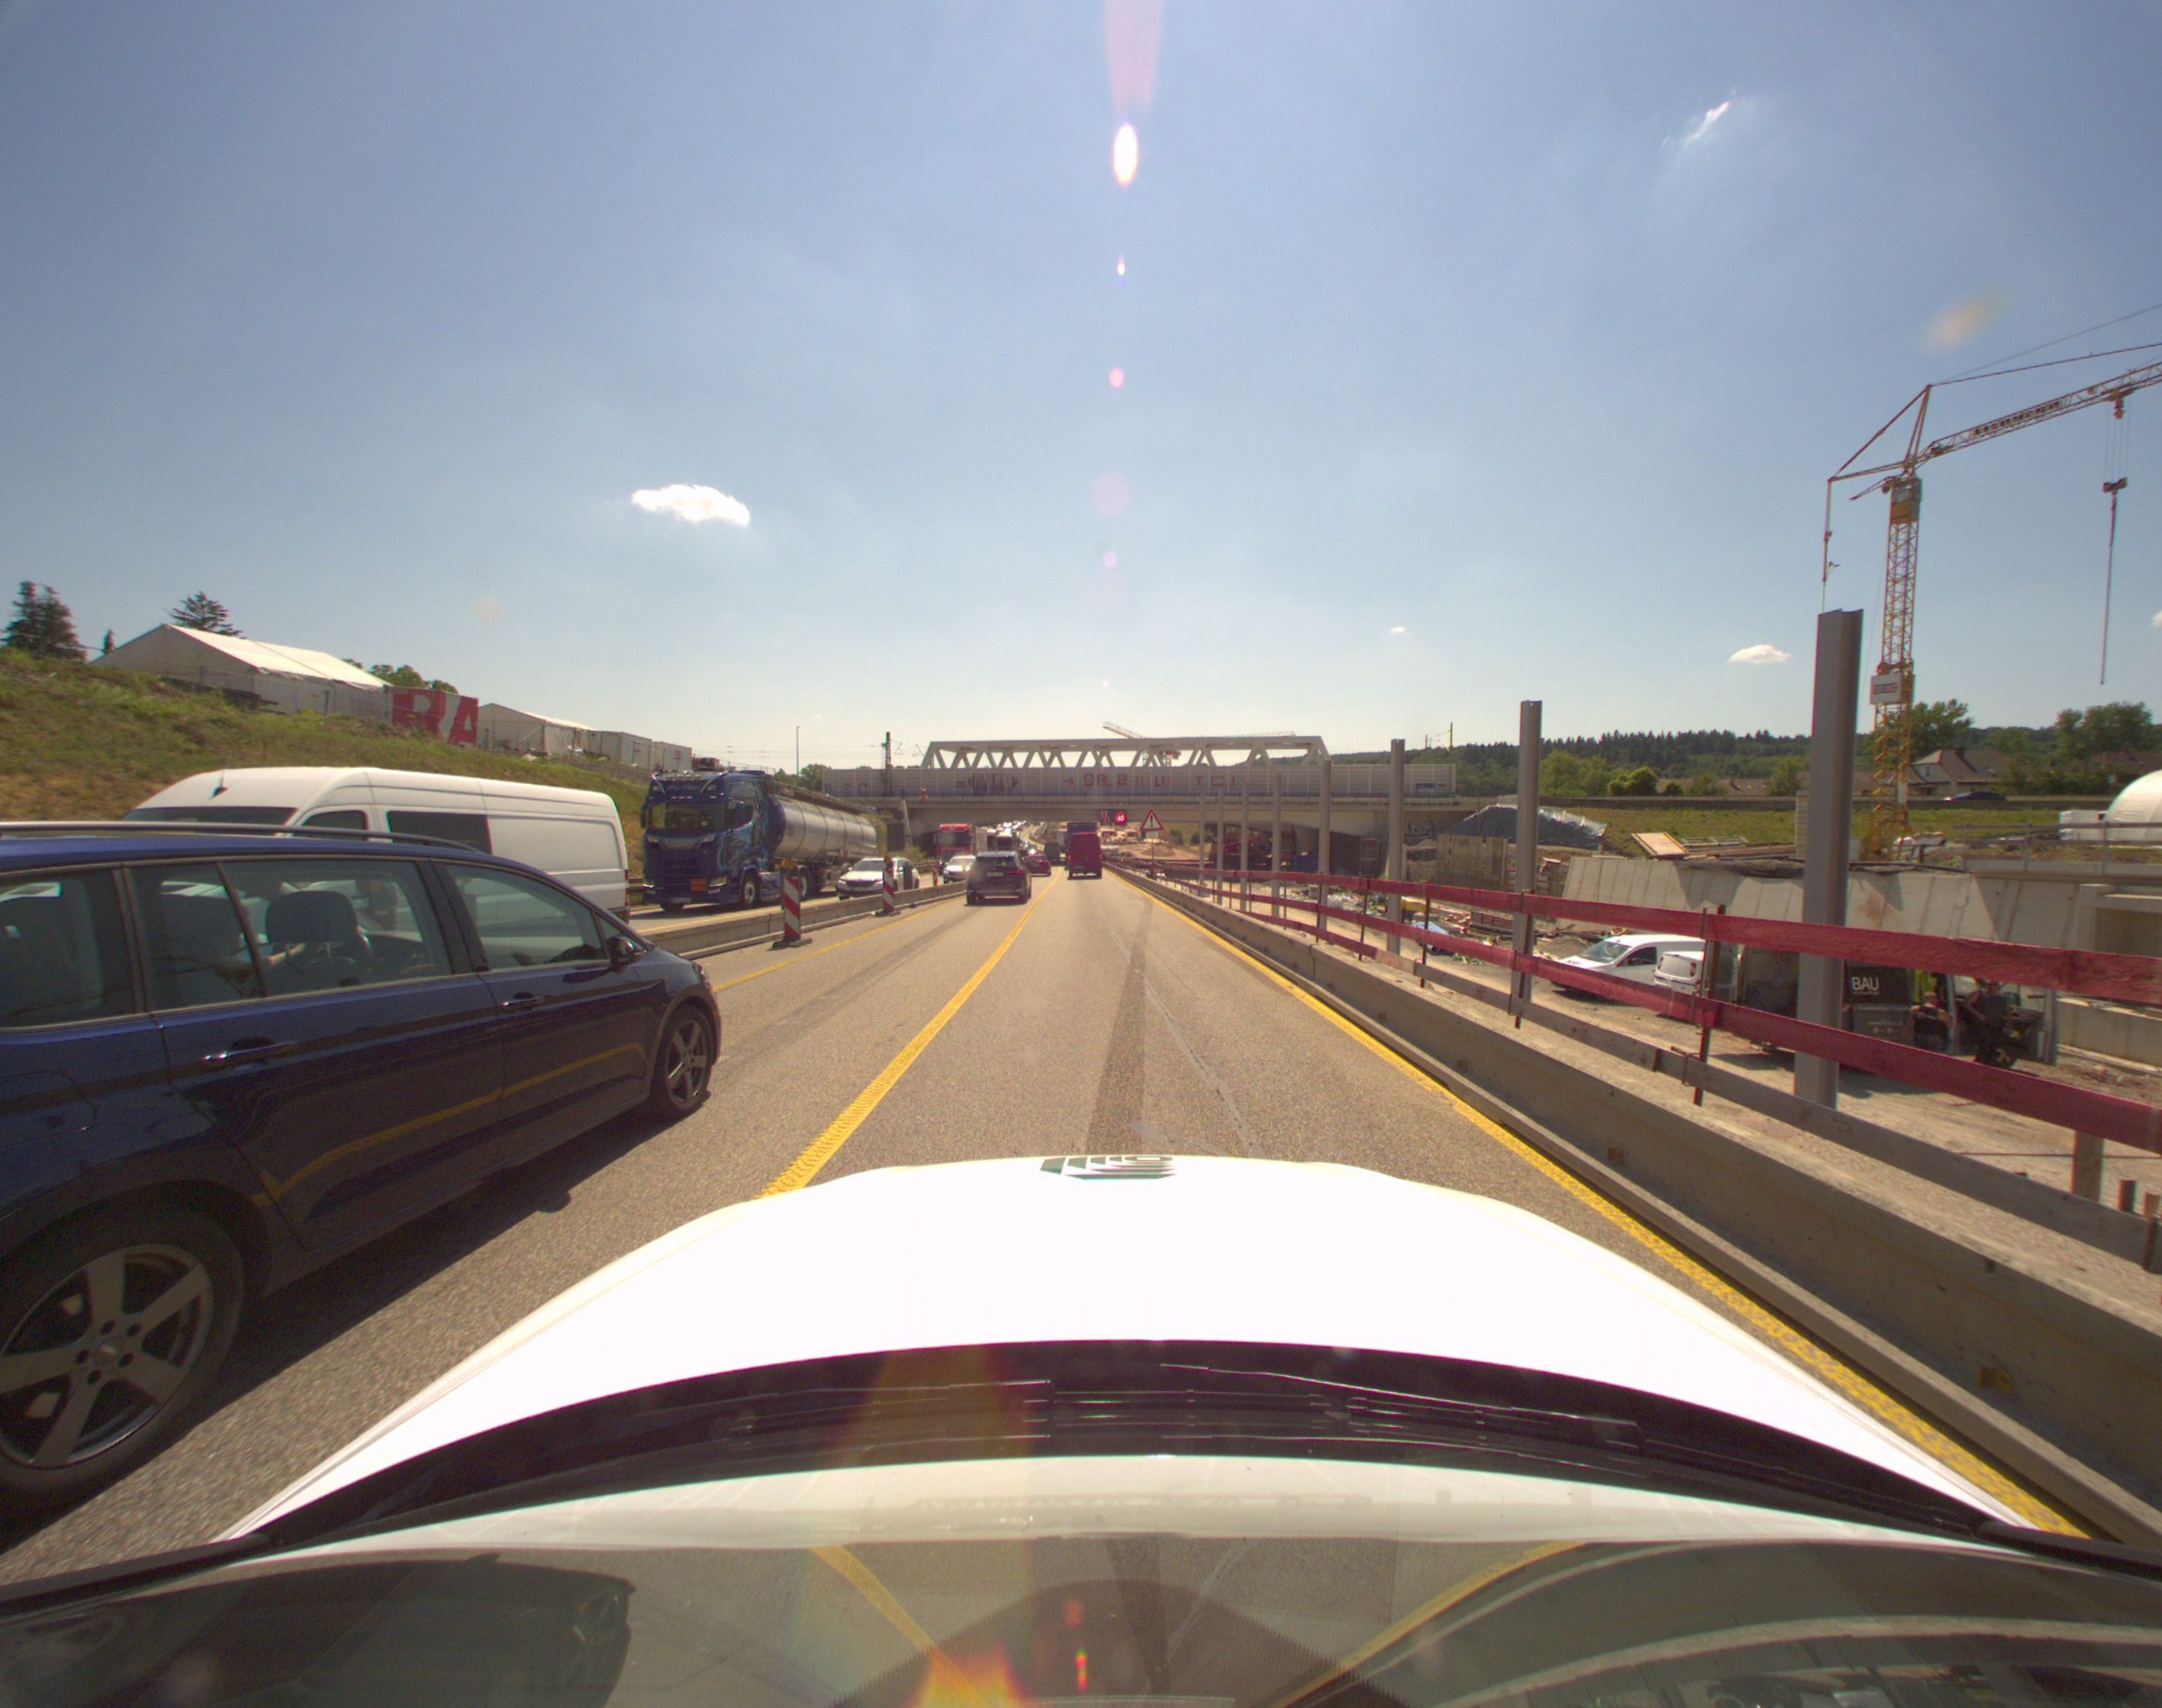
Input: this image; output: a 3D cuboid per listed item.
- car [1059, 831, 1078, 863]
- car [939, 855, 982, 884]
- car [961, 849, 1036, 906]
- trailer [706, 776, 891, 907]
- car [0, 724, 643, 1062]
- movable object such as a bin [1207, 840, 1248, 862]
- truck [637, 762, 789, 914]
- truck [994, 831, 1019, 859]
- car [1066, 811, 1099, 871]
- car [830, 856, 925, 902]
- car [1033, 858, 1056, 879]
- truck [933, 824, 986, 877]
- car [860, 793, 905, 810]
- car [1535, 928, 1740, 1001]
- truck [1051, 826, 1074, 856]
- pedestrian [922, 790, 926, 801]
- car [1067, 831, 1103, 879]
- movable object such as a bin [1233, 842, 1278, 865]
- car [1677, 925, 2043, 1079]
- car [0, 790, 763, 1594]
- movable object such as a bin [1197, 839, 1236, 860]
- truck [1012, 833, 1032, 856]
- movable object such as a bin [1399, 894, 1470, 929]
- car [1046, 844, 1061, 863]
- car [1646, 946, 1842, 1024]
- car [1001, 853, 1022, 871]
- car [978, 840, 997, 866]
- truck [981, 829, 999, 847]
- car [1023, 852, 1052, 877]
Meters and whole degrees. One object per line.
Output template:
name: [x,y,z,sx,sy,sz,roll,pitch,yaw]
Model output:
car: [-1.830,-0.982,113.171,2.443,4.160,6.856,-1,1,-2]
car: [-6.384,0.794,43.646,1.829,1.446,4.152,-1,0,-3]
car: [-2.555,0.670,26.244,1.873,1.618,4.500,-1,1,1]
trailer: [-10.036,-0.426,30.820,2.337,4.015,11.460,-1,0,3]
car: [-8.334,0.278,9.807,1.985,2.606,7.016,-1,0,3]
movable object such as a bin: [19.308,-0.410,107.581,5.123,2.807,2.145,0,0,4]
truck: [-10.483,-0.432,23.605,2.348,4.015,4.004,-1,0,3]
truck: [-10.790,-1.295,119.116,2.827,3.852,12.905,-1,1,-1]
car: [0.015,-1.141,74.163,2.614,5.032,10.390,-1,1,-2]
car: [-6.891,0.810,28.070,1.809,1.383,4.589,-1,1,4]
car: [-3.173,1.259,71.083,1.835,1.654,4.161,-2,1,-2]
truck: [-9.580,-0.322,65.740,2.828,3.852,12.901,-1,1,-2]
car: [-22.616,-5.981,93.018,4.523,1.783,1.967,0,0,12]
car: [16.423,3.238,24.214,4.713,1.773,2.000,1,2,0]
truck: [-3.533,-2.426,152.943,2.833,5.398,12.876,-1,0,-8]
pedestrian: [-17.496,-6.492,90.616,0.334,1.211,0.309,-1,0,12]
car: [0.199,0.013,48.962,1.983,2.690,4.621,-1,1,-2]
movable object such as a bin: [21.496,-0.062,100.402,5.123,2.807,2.145,0,0,4]
car: [16.364,2.966,17.276,6.090,2.584,2.521,1,2,-11]
car: [-3.167,0.688,3.352,1.769,1.718,4.654,-1,1,1]
movable object such as a bin: [18.538,-0.588,111.947,5.123,2.807,2.145,0,0,4]
truck: [-10.842,-1.721,148.307,2.833,3.852,12.878,-1,1,-7]
movable object such as a bin: [17.815,2.856,41.054,3.067,1.563,1.563,0,0,34]
car: [-3.475,-0.083,104.215,1.771,2.441,4.203,-1,1,-2]
car: [17.067,3.351,21.076,3.754,1.668,1.765,1,2,-6]
car: [-5.871,0.624,69.056,1.576,1.446,3.661,-1,0,-2]
car: [-10.147,-0.117,88.793,1.576,2.654,5.387,-1,0,-2]
truck: [-20.854,-3.586,185.083,2.837,3.852,12.859,-1,1,-12]
car: [-2.842,0.655,53.957,1.771,1.517,4.204,-1,1,-1]
